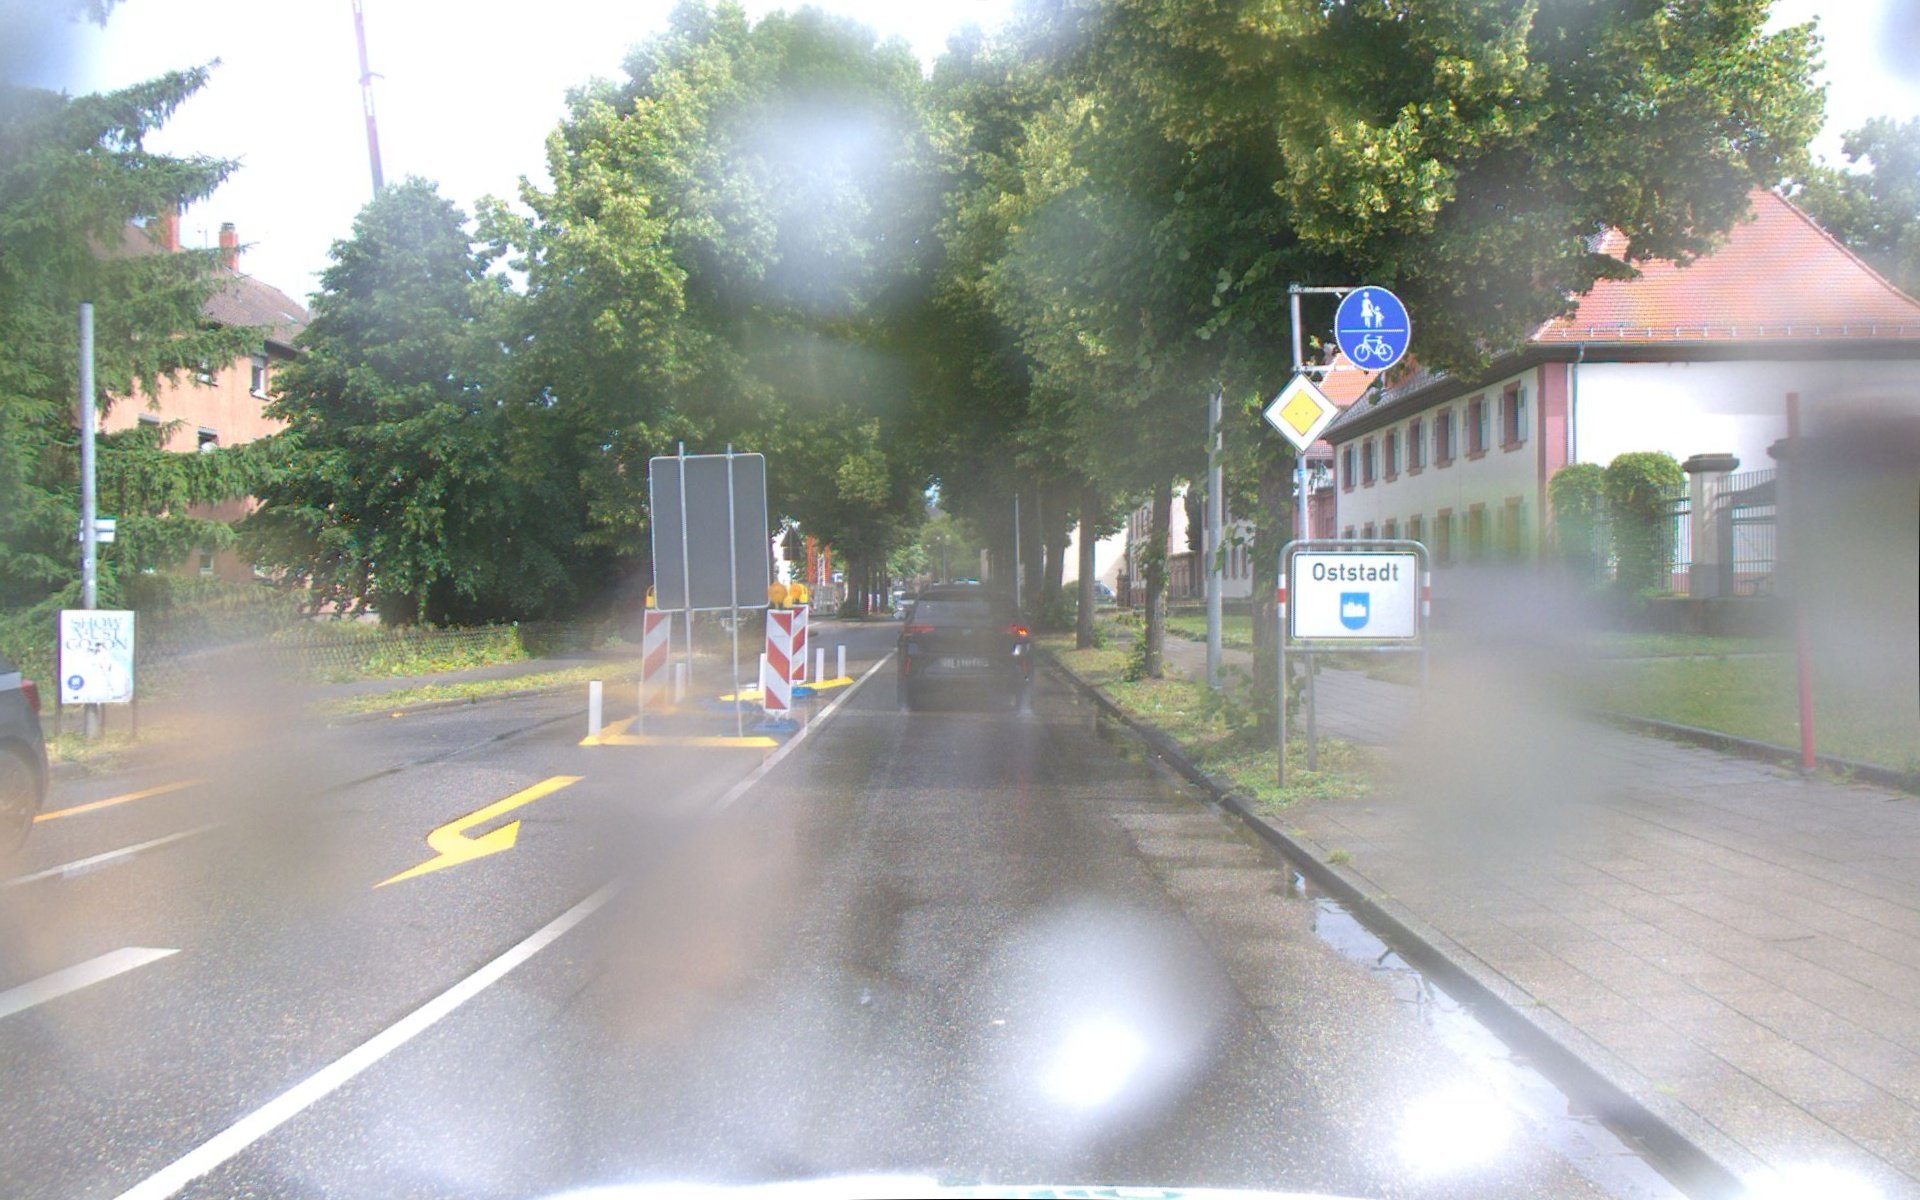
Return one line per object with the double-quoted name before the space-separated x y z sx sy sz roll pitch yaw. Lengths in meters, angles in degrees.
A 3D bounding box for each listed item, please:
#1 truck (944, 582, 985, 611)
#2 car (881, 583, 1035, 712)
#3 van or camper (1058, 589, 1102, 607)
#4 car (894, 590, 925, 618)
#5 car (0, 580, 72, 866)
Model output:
"truck" 0.400 -0.391 163.657 2.754 2.703 8.221 0 1 -10
"car" -0.111 0.575 21.942 1.857 1.549 3.998 0 0 -3
"van or camper" 13.358 -0.251 184.736 4.774 1.959 2.131 0 0 0
"car" -3.255 0.225 107.672 1.848 1.743 4.229 -1 0 0
"car" -6.041 0.686 7.664 1.645 1.534 3.795 -1 0 3
